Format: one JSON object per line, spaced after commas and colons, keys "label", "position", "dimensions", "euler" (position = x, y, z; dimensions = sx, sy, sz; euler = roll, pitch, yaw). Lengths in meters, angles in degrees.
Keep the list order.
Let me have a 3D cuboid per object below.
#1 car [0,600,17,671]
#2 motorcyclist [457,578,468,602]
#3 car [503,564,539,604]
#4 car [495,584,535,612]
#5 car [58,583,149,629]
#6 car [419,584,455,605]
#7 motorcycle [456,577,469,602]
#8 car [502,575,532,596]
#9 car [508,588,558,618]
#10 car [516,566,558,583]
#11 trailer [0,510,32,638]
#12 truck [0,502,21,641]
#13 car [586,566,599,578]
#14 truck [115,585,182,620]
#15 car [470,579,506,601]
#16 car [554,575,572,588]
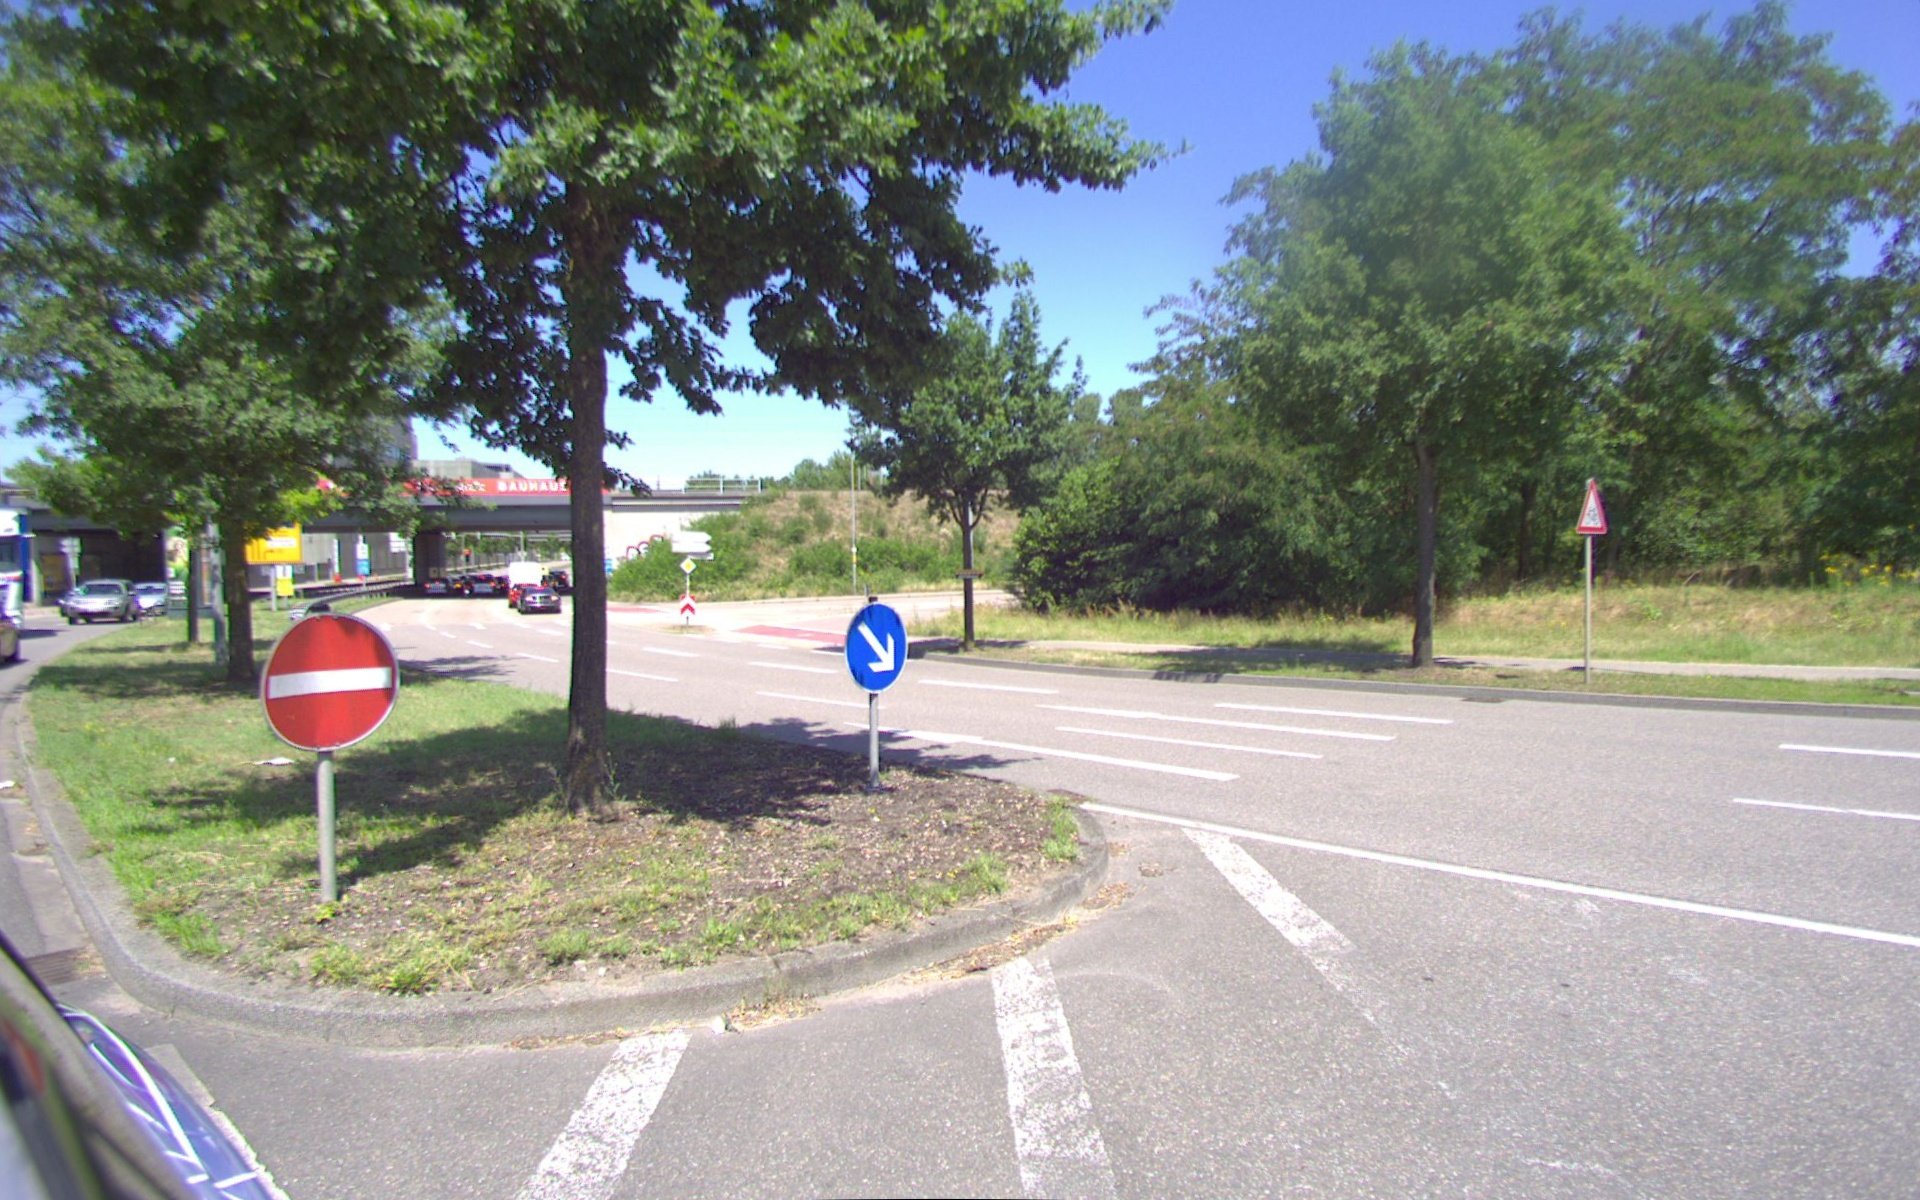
{"label": "car", "position": [-20.703, 0.726, 20.766], "dimensions": [1.621, 1.409, 4.061], "euler": [1, 1, -38]}
{"label": "motorcyclist", "position": [-34.299, -0.678, 69.746], "dimensions": [0.579, 1.638, 0.564], "euler": [-1, 2, -21]}
{"label": "car", "position": [-29.328, -1.028, 67.614], "dimensions": [2.064, 2.519, 5.828], "euler": [0, 0, -23]}
{"label": "car", "position": [-25.637, -0.134, 58.232], "dimensions": [1.805, 1.448, 4.541], "euler": [-1, 2, -27]}
{"label": "car", "position": [-34.613, 0.208, 41.021], "dimensions": [1.815, 1.708, 3.712], "euler": [-1, 2, -24]}
{"label": "car", "position": [-38.382, -0.425, 74.399], "dimensions": [1.611, 1.413, 4.235], "euler": [0, 1, -17]}
{"label": "motorcycle", "position": [-34.318, -0.717, 69.809], "dimensions": [0.589, 1.690, 2.433], "euler": [-1, 2, -22]}
{"label": "car", "position": [-41.287, -1.347, 94.438], "dimensions": [1.876, 1.873, 4.012], "euler": [-1, 2, -14]}
{"label": "car", "position": [-21.700, 0.107, 51.324], "dimensions": [1.784, 1.343, 4.583], "euler": [-1, 2, -30]}
{"label": "car", "position": [-48.718, -2.937, 116.475], "dimensions": [4.246, 1.873, 1.878], "euler": [-1, 2, -30]}
{"label": "trailer", "position": [-37.298, -0.763, 34.812], "dimensions": [13.818, 4.120, 2.481], "euler": [0, 2, 24]}
{"label": "truck", "position": [-31.163, -0.868, 31.398], "dimensions": [5.764, 4.132, 2.539], "euler": [1, 2, 44]}
{"label": "car", "position": [-66.137, -5.106, 182.207], "dimensions": [1.966, 2.118, 6.403], "euler": [-1, 2, -17]}
{"label": "truck", "position": [-38.160, 0.082, 47.672], "dimensions": [1.702, 1.513, 4.013], "euler": [-1, 2, -28]}
{"label": "car", "position": [-34.493, -0.721, 74.050], "dimensions": [1.612, 1.579, 4.083], "euler": [0, 1, -13]}
{"label": "car", "position": [-38.400, -1.811, 97.862], "dimensions": [1.167, 1.257, 2.699], "euler": [-1, 2, -11]}
